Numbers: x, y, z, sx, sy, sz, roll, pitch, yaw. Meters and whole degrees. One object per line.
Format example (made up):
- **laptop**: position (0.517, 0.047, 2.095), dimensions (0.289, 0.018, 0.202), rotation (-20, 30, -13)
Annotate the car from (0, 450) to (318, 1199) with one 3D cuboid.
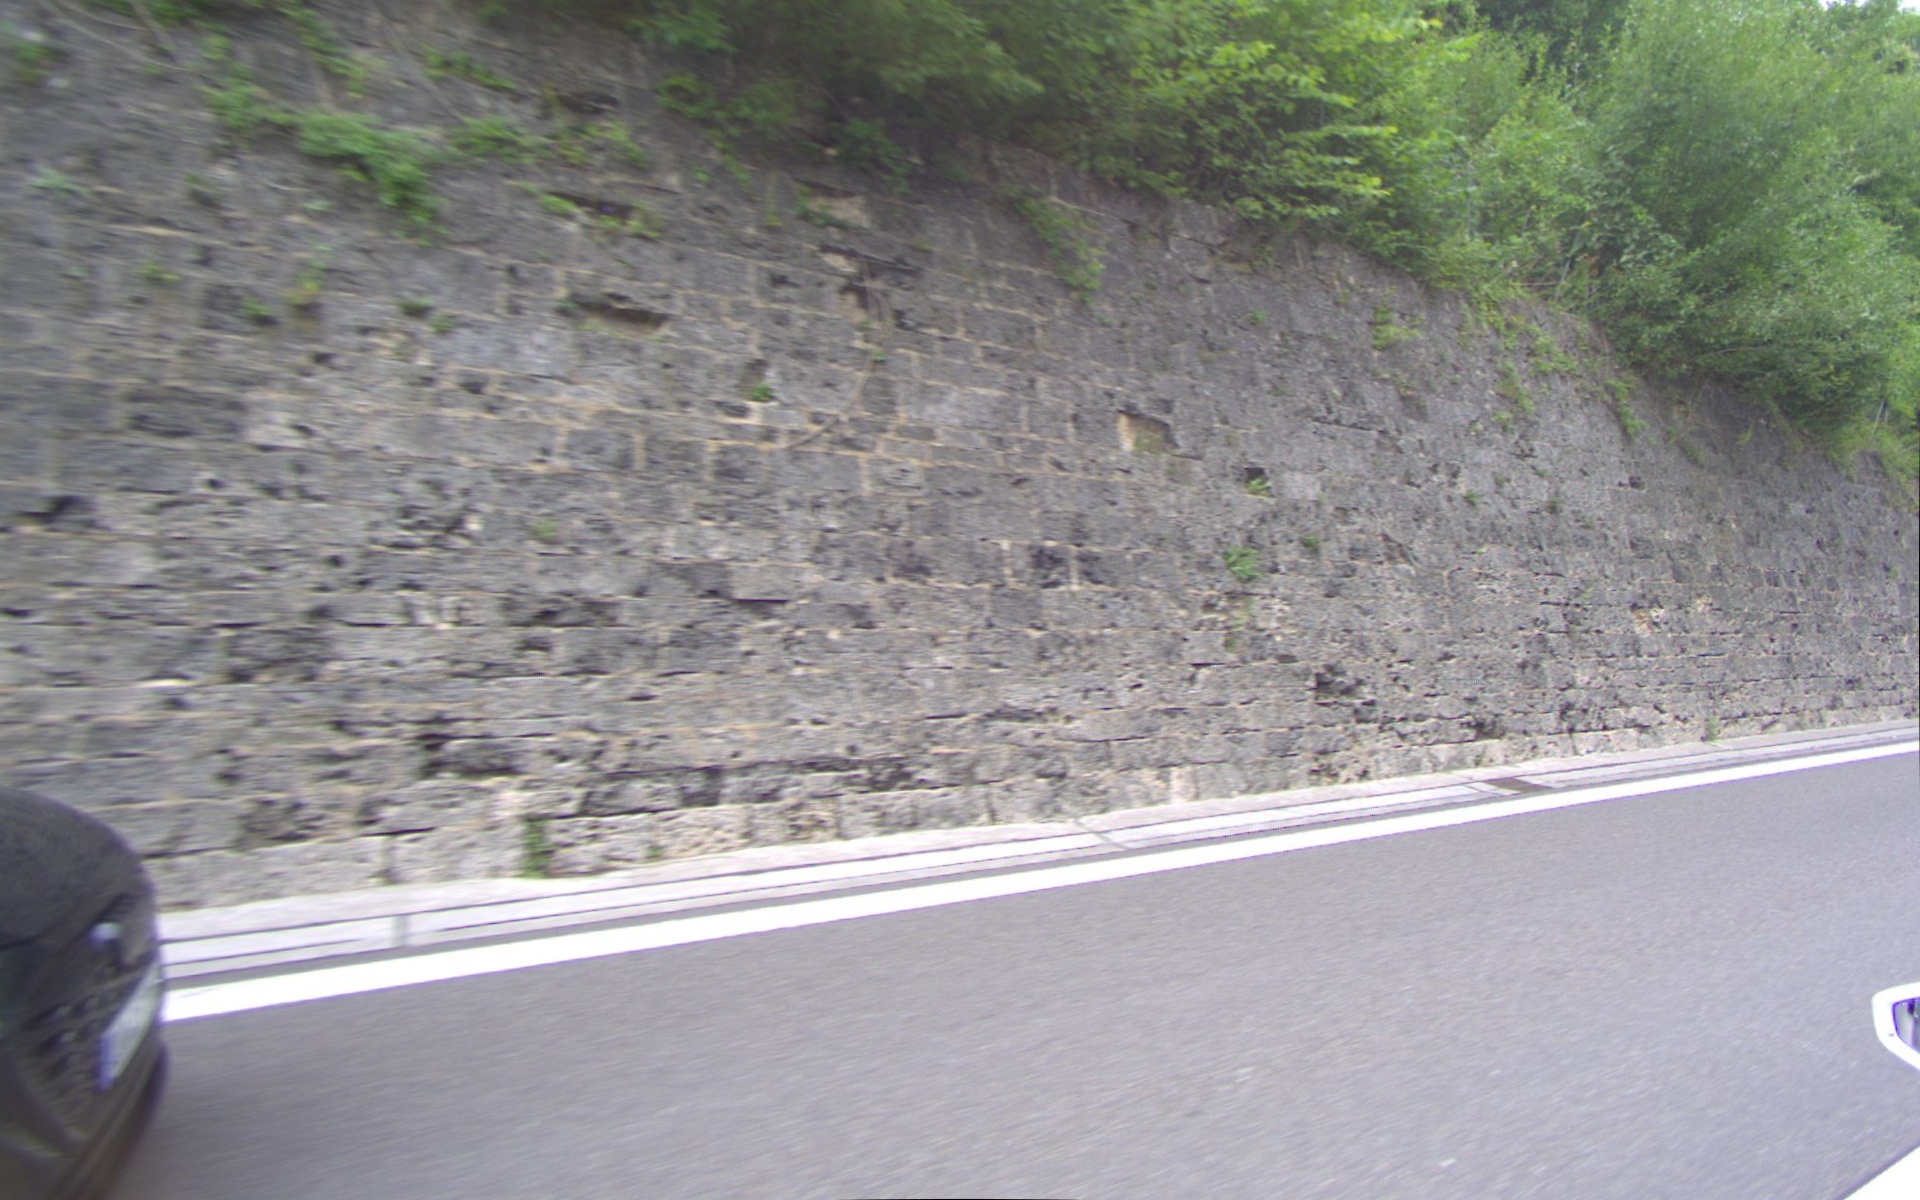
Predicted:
- **car**: position (-3.709, 0.593, 1.080), dimensions (4.949, 1.654, 1.984), rotation (1, -1, -30)
